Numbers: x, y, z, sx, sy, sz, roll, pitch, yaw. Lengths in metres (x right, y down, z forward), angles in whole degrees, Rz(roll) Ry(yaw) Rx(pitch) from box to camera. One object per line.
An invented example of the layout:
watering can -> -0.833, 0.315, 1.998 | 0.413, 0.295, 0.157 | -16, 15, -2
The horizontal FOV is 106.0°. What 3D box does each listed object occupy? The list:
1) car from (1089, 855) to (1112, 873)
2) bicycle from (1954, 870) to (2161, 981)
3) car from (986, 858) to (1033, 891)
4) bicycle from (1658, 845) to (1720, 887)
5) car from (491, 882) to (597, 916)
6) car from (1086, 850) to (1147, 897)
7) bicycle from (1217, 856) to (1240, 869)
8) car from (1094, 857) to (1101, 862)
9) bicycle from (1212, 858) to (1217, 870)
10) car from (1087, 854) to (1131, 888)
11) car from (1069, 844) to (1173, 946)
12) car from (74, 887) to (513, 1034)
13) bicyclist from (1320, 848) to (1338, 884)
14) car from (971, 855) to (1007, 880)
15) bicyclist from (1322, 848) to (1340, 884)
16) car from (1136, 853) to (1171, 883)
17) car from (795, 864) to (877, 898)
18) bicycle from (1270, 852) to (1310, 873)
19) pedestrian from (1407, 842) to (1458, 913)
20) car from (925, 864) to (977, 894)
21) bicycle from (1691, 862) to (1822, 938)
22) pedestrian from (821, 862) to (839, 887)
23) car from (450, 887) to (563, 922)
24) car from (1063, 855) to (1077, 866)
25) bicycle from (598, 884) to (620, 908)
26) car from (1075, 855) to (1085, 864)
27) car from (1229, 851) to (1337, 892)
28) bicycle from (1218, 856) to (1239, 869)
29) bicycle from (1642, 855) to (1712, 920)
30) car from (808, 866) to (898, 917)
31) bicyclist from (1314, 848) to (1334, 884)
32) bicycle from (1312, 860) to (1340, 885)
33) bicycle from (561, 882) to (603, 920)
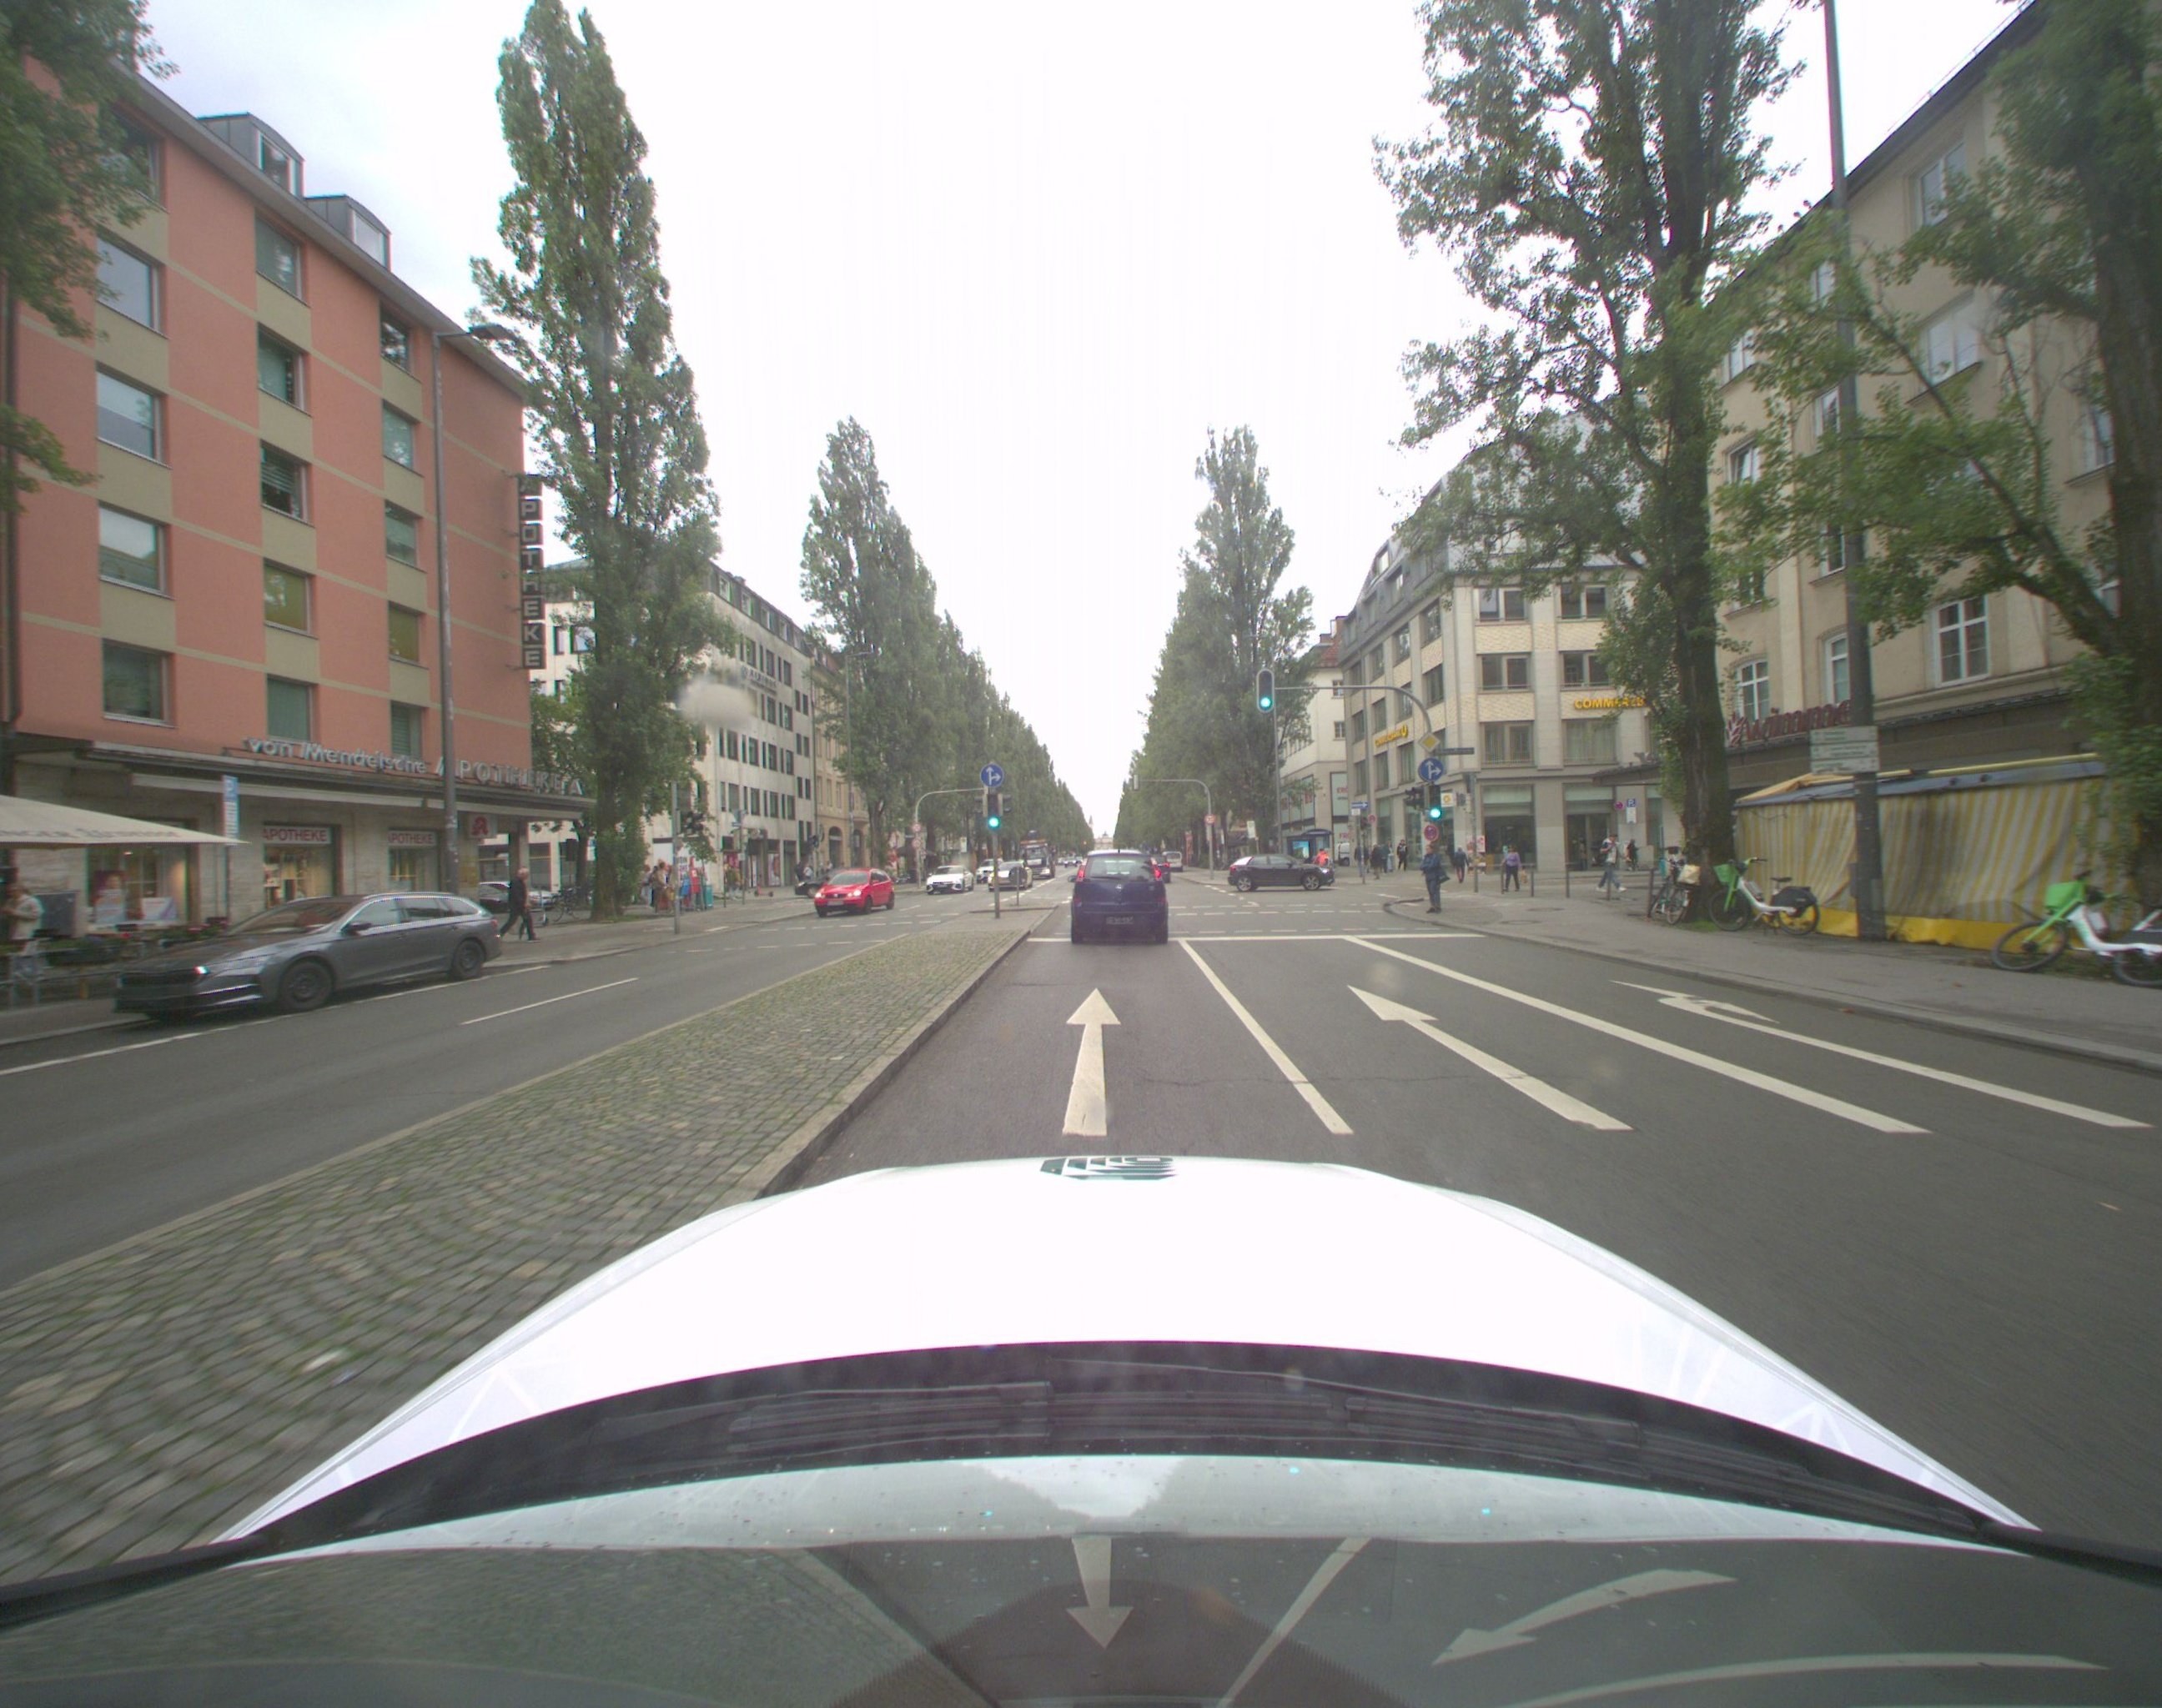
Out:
car -> 1.797, 0.870, 74.003 | 1.987, 1.497, 4.000 | -2, 0, 1
bicycle -> 10.271, 0.681, 8.447 | 0.507, 0.975, 1.770 | -2, 0, 0
car -> -3.653, 1.021, 42.568 | 1.837, 1.501, 4.987 | -3, 0, 1
bicycle -> 17.672, 0.356, 23.717 | 0.433, 1.170, 1.811 | -1, -1, 0
car -> -25.045, 2.091, 38.027 | 3.962, 1.420, 1.787 | -2, 0, 10
car -> 1.213, 0.654, 29.031 | 1.987, 1.497, 4.000 | -2, 0, 1
bicycle -> 12.546, 0.732, 69.269 | 1.757, 1.044, 0.482 | -2, 0, -8
car -> 4.700, 1.561, 236.467 | 1.955, 1.399, 3.779 | -2, 0, 1
bicycle -> 12.318, 0.902, 75.162 | 0.362, 1.038, 1.735 | -2, 0, 10
car -> 1.337, 0.775, 39.654 | 1.987, 1.497, 4.000 | -2, 0, 1
car -> 0.688, 0.677, 15.439 | 1.675, 1.641, 4.000 | -1, 0, 1
car -> -10.557, 1.300, 11.562 | 1.697, 1.438, 4.589 | -3, -1, 0
bicyclist -> 11.163, 0.546, 36.696 | 0.619, 1.588, 0.481 | -2, -1, 1
car -> -6.637, 0.952, 59.184 | 1.830, 1.716, 4.638 | -3, 0, 2
bicyclist -> 11.165, 0.542, 36.349 | 0.619, 1.588, 0.391 | -2, -1, 1
car -> 4.161, 0.799, 47.453 | 1.700, 1.574, 4.001 | -2, 0, 1
car -> -11.852, 1.286, 39.484 | 3.701, 1.475, 1.762 | -2, 0, -17
bicycle -> 13.344, 0.522, 52.056 | 2.335, 1.252, 0.633 | -2, 0, 1
pedestrian -> 8.341, 0.552, 19.335 | 0.763, 1.610, 0.863 | -2, 0, -2
car -> -6.712, 1.269, 42.553 | 1.816, 1.408, 4.634 | -3, 0, 1
bicycle -> 10.238, 0.663, 12.425 | 0.507, 1.048, 1.770 | -2, 0, 0
pedestrian -> -16.047, 1.310, 52.012 | 0.747, 1.567, 0.990 | -2, 0, 3
car -> -25.394, 2.227, 36.073 | 3.962, 1.420, 1.787 | -1, -1, 10
car -> -1.750, 1.033, 129.782 | 1.906, 1.681, 4.587 | -2, 0, 1
bicycle -> -25.617, 2.252, 44.237 | 0.450, 1.184, 2.053 | -2, 0, -14
car -> -0.225, 1.096, 165.722 | 1.928, 1.623, 4.338 | -2, 0, 1
car -> 8.099, 0.697, 32.643 | 3.952, 1.461, 1.769 | -2, 0, 22
bicycle -> 12.700, 0.742, 70.102 | 1.737, 1.110, 0.447 | -2, 0, -9
bicycle -> 10.712, 0.570, 14.693 | 0.401, 1.070, 1.819 | 3, 1, 17
car -> -7.441, 1.182, 26.924 | 1.730, 1.437, 3.825 | -3, -1, 2
bicyclist -> 11.182, 0.554, 37.479 | 0.619, 1.588, 0.753 | -2, -1, 1
bicycle -> 11.191, 0.828, 37.281 | 0.624, 1.087, 2.264 | -2, 0, 1
bicycle -> -16.069, 1.490, 26.241 | 0.419, 1.141, 1.374 | -2, 0, 3
